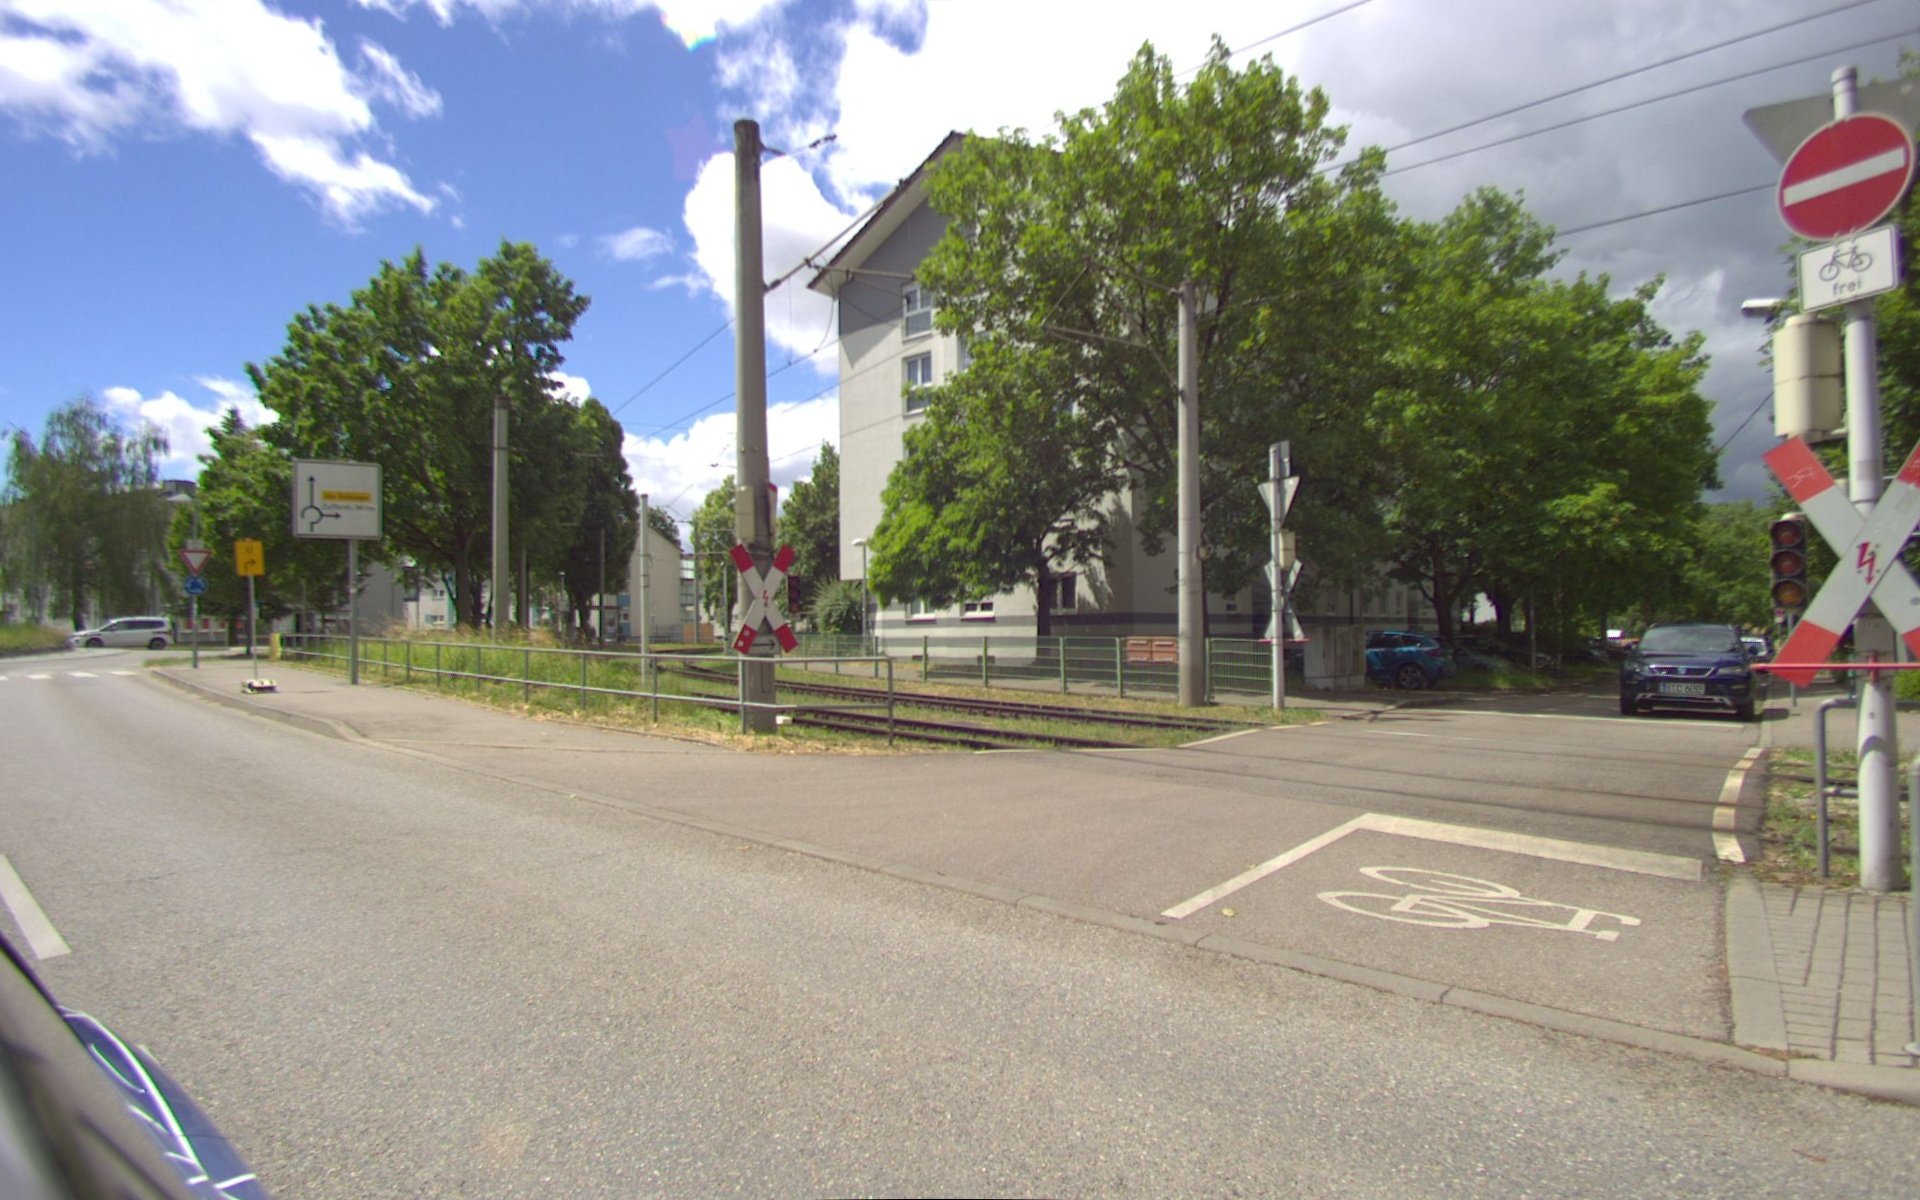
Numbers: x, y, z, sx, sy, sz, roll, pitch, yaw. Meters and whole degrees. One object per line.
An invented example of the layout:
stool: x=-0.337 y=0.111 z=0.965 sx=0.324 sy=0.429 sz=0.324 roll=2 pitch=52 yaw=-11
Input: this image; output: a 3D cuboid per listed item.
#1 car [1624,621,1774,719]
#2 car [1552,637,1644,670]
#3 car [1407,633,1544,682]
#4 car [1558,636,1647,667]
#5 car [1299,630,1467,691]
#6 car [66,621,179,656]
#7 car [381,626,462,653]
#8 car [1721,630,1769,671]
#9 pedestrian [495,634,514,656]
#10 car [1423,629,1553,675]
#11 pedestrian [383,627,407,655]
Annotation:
car: x=12.707 y=1.188 z=17.328 sx=1.588 sy=1.488 sz=3.631 roll=-2 pitch=-5 yaw=44
car: x=34.103 y=2.813 z=54.126 sx=4.101 sy=1.567 sz=1.839 roll=-1 pitch=0 yaw=35
car: x=18.049 y=1.982 z=35.490 sx=4.101 sy=1.567 sz=1.839 roll=-1 pitch=-2 yaw=35
car: x=35.810 y=2.836 z=56.440 sx=4.101 sy=1.567 sz=1.839 roll=-1 pitch=0 yaw=35
car: x=11.951 y=1.660 z=28.680 sx=4.101 sy=1.567 sz=1.839 roll=-1 pitch=-2 yaw=35
car: x=-45.884 y=2.104 z=55.506 sx=2.001 sy=1.810 sz=4.552 roll=-2 pitch=-3 yaw=44
car: x=-36.958 y=2.704 z=69.603 sx=1.993 sy=1.810 sz=4.569 roll=-1 pitch=-2 yaw=31
car: x=39.121 y=2.487 z=50.399 sx=1.790 sy=1.937 sz=4.009 roll=-2 pitch=-2 yaw=38
pedestrian: x=-35.323 y=3.456 z=78.505 sx=0.874 sy=1.677 sz=1.010 roll=-2 pitch=-2 yaw=36
car: x=19.522 y=1.889 z=37.457 sx=4.101 sy=1.567 sz=1.839 roll=-1 pitch=-2 yaw=35
pedestrian: x=-33.585 y=2.425 z=60.207 sx=1.019 sy=1.677 sz=0.865 roll=-2 pitch=-2 yaw=34
